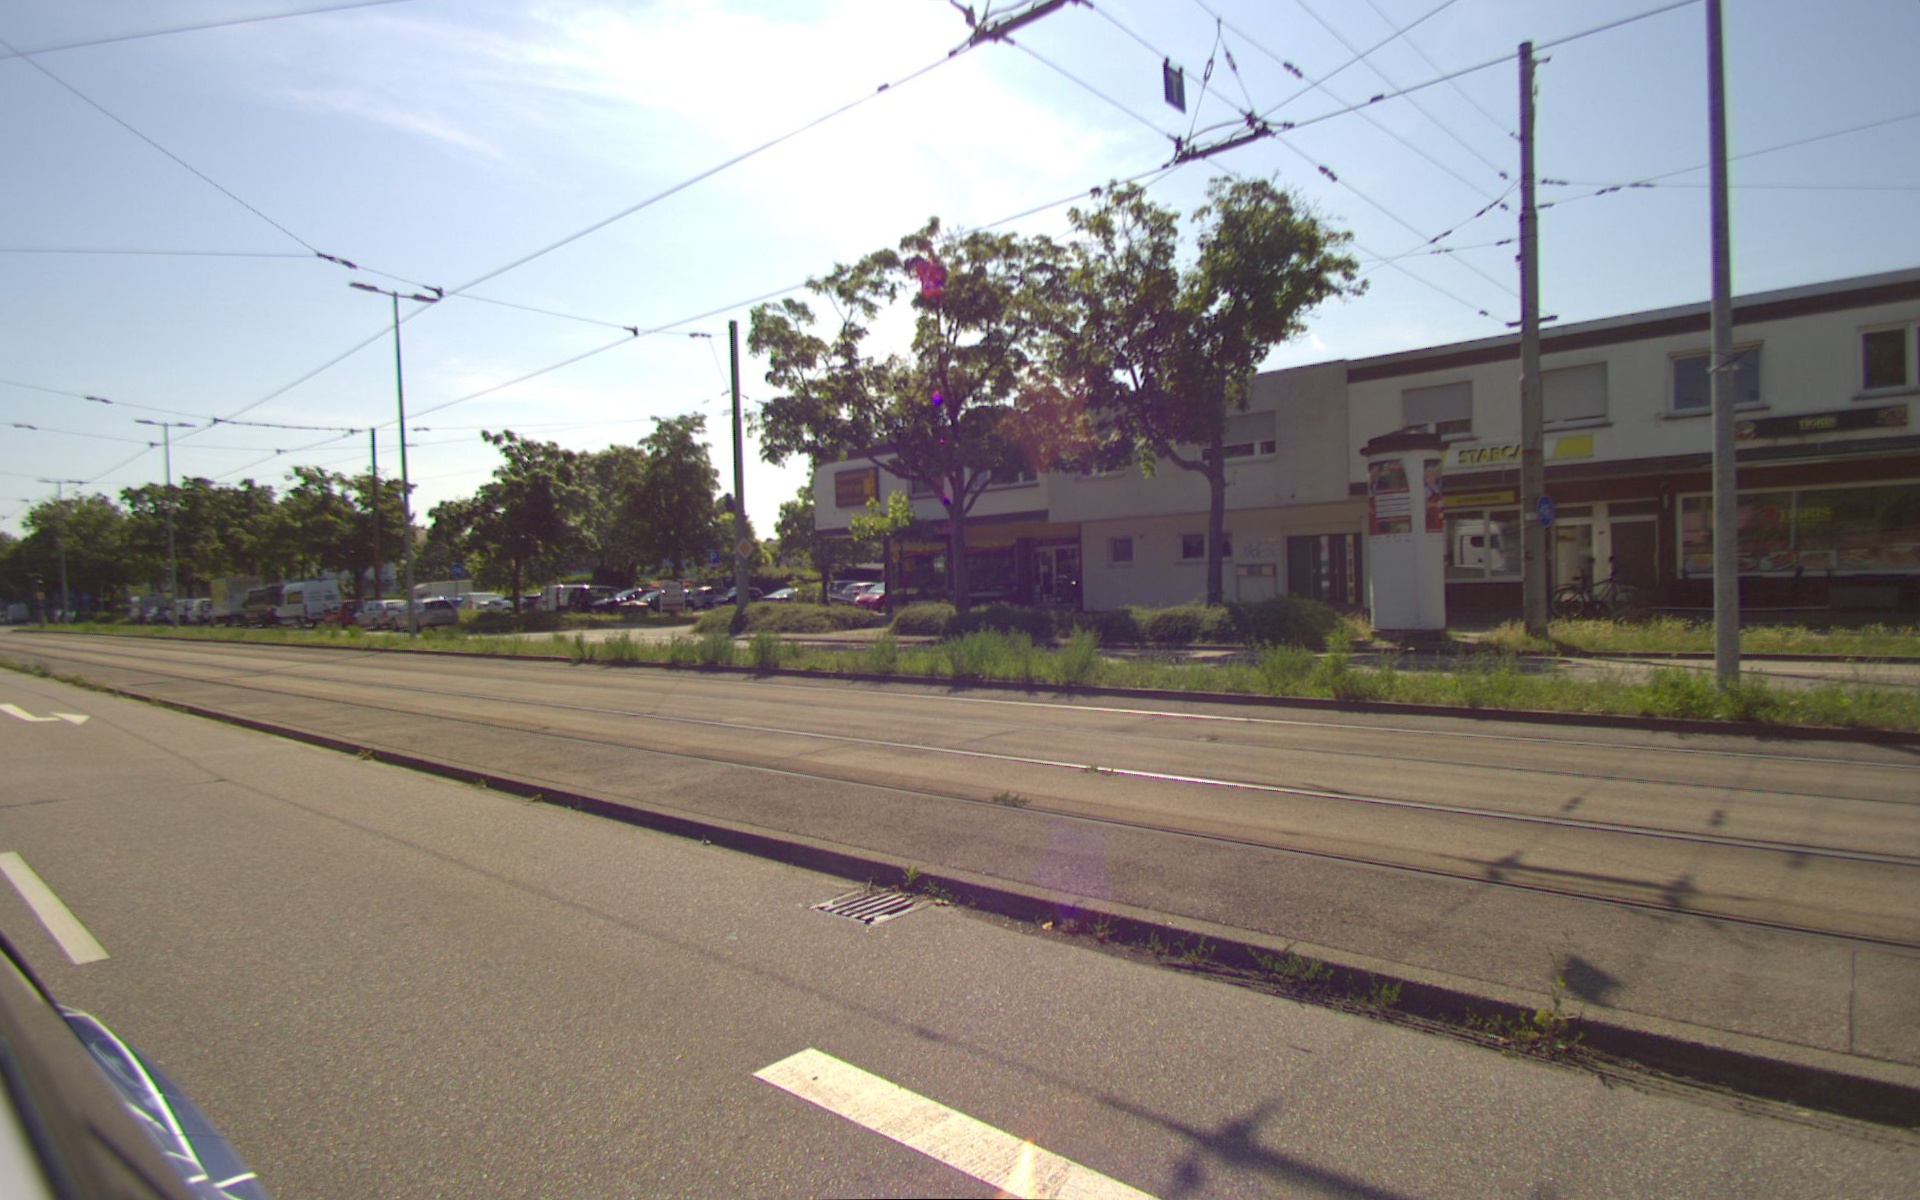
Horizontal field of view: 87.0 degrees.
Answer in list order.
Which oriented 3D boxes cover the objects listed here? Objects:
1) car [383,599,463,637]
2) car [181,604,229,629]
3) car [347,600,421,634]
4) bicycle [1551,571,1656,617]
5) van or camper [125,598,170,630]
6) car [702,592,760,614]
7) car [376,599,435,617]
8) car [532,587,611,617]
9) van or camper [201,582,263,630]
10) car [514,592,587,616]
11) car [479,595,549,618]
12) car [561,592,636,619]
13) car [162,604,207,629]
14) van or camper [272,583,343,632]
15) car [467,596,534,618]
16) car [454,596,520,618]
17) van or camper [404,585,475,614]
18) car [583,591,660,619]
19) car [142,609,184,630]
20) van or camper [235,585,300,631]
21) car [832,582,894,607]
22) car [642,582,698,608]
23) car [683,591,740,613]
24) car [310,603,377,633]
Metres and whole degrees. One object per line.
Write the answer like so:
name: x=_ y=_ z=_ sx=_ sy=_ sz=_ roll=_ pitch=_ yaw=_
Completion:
car: x=-25.180 y=0.835 z=47.401 sx=4.285 sy=1.506 sz=1.868 roll=-1 pitch=4 yaw=43
car: x=-54.666 y=1.188 z=73.212 sx=4.229 sy=1.747 sz=1.869 roll=-1 pitch=1 yaw=41
car: x=-28.953 y=0.859 z=50.863 sx=4.282 sy=1.572 sz=1.869 roll=-1 pitch=1 yaw=41
bicycle: x=14.639 y=-0.129 z=23.050 sx=1.910 sy=0.990 sz=0.750 roll=-1 pitch=1 yaw=41
van or camper: x=-69.474 y=1.172 z=86.476 sx=5.450 sy=2.639 sz=2.087 roll=-1 pitch=0 yaw=41
car: x=-15.649 y=0.169 z=69.386 sx=1.710 sy=1.372 sz=3.580 roll=-1 pitch=1 yaw=39
car: x=-42.245 y=0.603 z=77.186 sx=1.710 sy=1.291 sz=3.580 roll=-1 pitch=1 yaw=39
car: x=-22.218 y=0.124 z=57.995 sx=1.949 sy=1.581 sz=3.703 roll=-1 pitch=1 yaw=39
van or camper: x=-48.443 y=0.401 z=67.269 sx=5.278 sy=3.007 sz=2.101 roll=-1 pitch=1 yaw=41
car: x=-24.029 y=0.233 z=59.450 sx=1.710 sy=1.294 sz=3.580 roll=-1 pitch=1 yaw=39
car: x=-28.072 y=0.420 z=63.790 sx=1.811 sy=1.291 sz=3.580 roll=-1 pitch=1 yaw=39
car: x=-20.187 y=0.280 z=56.572 sx=1.710 sy=1.372 sz=3.580 roll=-1 pitch=1 yaw=39
car: x=-59.754 y=1.283 z=77.931 sx=4.229 sy=1.781 sz=1.869 roll=-1 pitch=1 yaw=41
van or camper: x=-37.117 y=0.432 z=57.520 sx=4.836 sy=2.652 sz=2.014 roll=-1 pitch=1 yaw=41
car: x=-29.918 y=0.444 z=65.915 sx=1.710 sy=1.291 sz=3.580 roll=-1 pitch=1 yaw=39
car: x=-31.566 y=0.465 z=67.620 sx=1.710 sy=1.291 sz=3.580 roll=-1 pitch=1 yaw=39
van or camper: x=-53.084 y=-0.084 z=103.253 sx=2.299 sy=2.751 sz=6.002 roll=-1 pitch=1 yaw=43
car: x=-18.235 y=0.255 z=54.633 sx=1.710 sy=1.372 sz=3.580 roll=-1 pitch=1 yaw=39
car: x=-64.396 y=1.571 z=81.722 sx=4.229 sy=1.572 sz=1.869 roll=-1 pitch=1 yaw=41
van or camper: x=-42.504 y=0.502 z=62.070 sx=4.836 sy=2.652 sz=2.014 roll=-1 pitch=1 yaw=41
car: x=-5.874 y=-0.355 z=61.349 sx=1.710 sy=1.372 sz=3.580 roll=-1 pitch=1 yaw=39
car: x=-21.309 y=-0.364 z=74.391 sx=1.710 sy=1.791 sz=3.580 roll=-1 pitch=1 yaw=39
car: x=-17.488 y=0.140 z=71.224 sx=1.710 sy=1.372 sz=3.580 roll=-1 pitch=1 yaw=39
car: x=-33.203 y=0.984 z=54.472 sx=4.229 sy=1.506 sz=1.869 roll=-1 pitch=1 yaw=41
